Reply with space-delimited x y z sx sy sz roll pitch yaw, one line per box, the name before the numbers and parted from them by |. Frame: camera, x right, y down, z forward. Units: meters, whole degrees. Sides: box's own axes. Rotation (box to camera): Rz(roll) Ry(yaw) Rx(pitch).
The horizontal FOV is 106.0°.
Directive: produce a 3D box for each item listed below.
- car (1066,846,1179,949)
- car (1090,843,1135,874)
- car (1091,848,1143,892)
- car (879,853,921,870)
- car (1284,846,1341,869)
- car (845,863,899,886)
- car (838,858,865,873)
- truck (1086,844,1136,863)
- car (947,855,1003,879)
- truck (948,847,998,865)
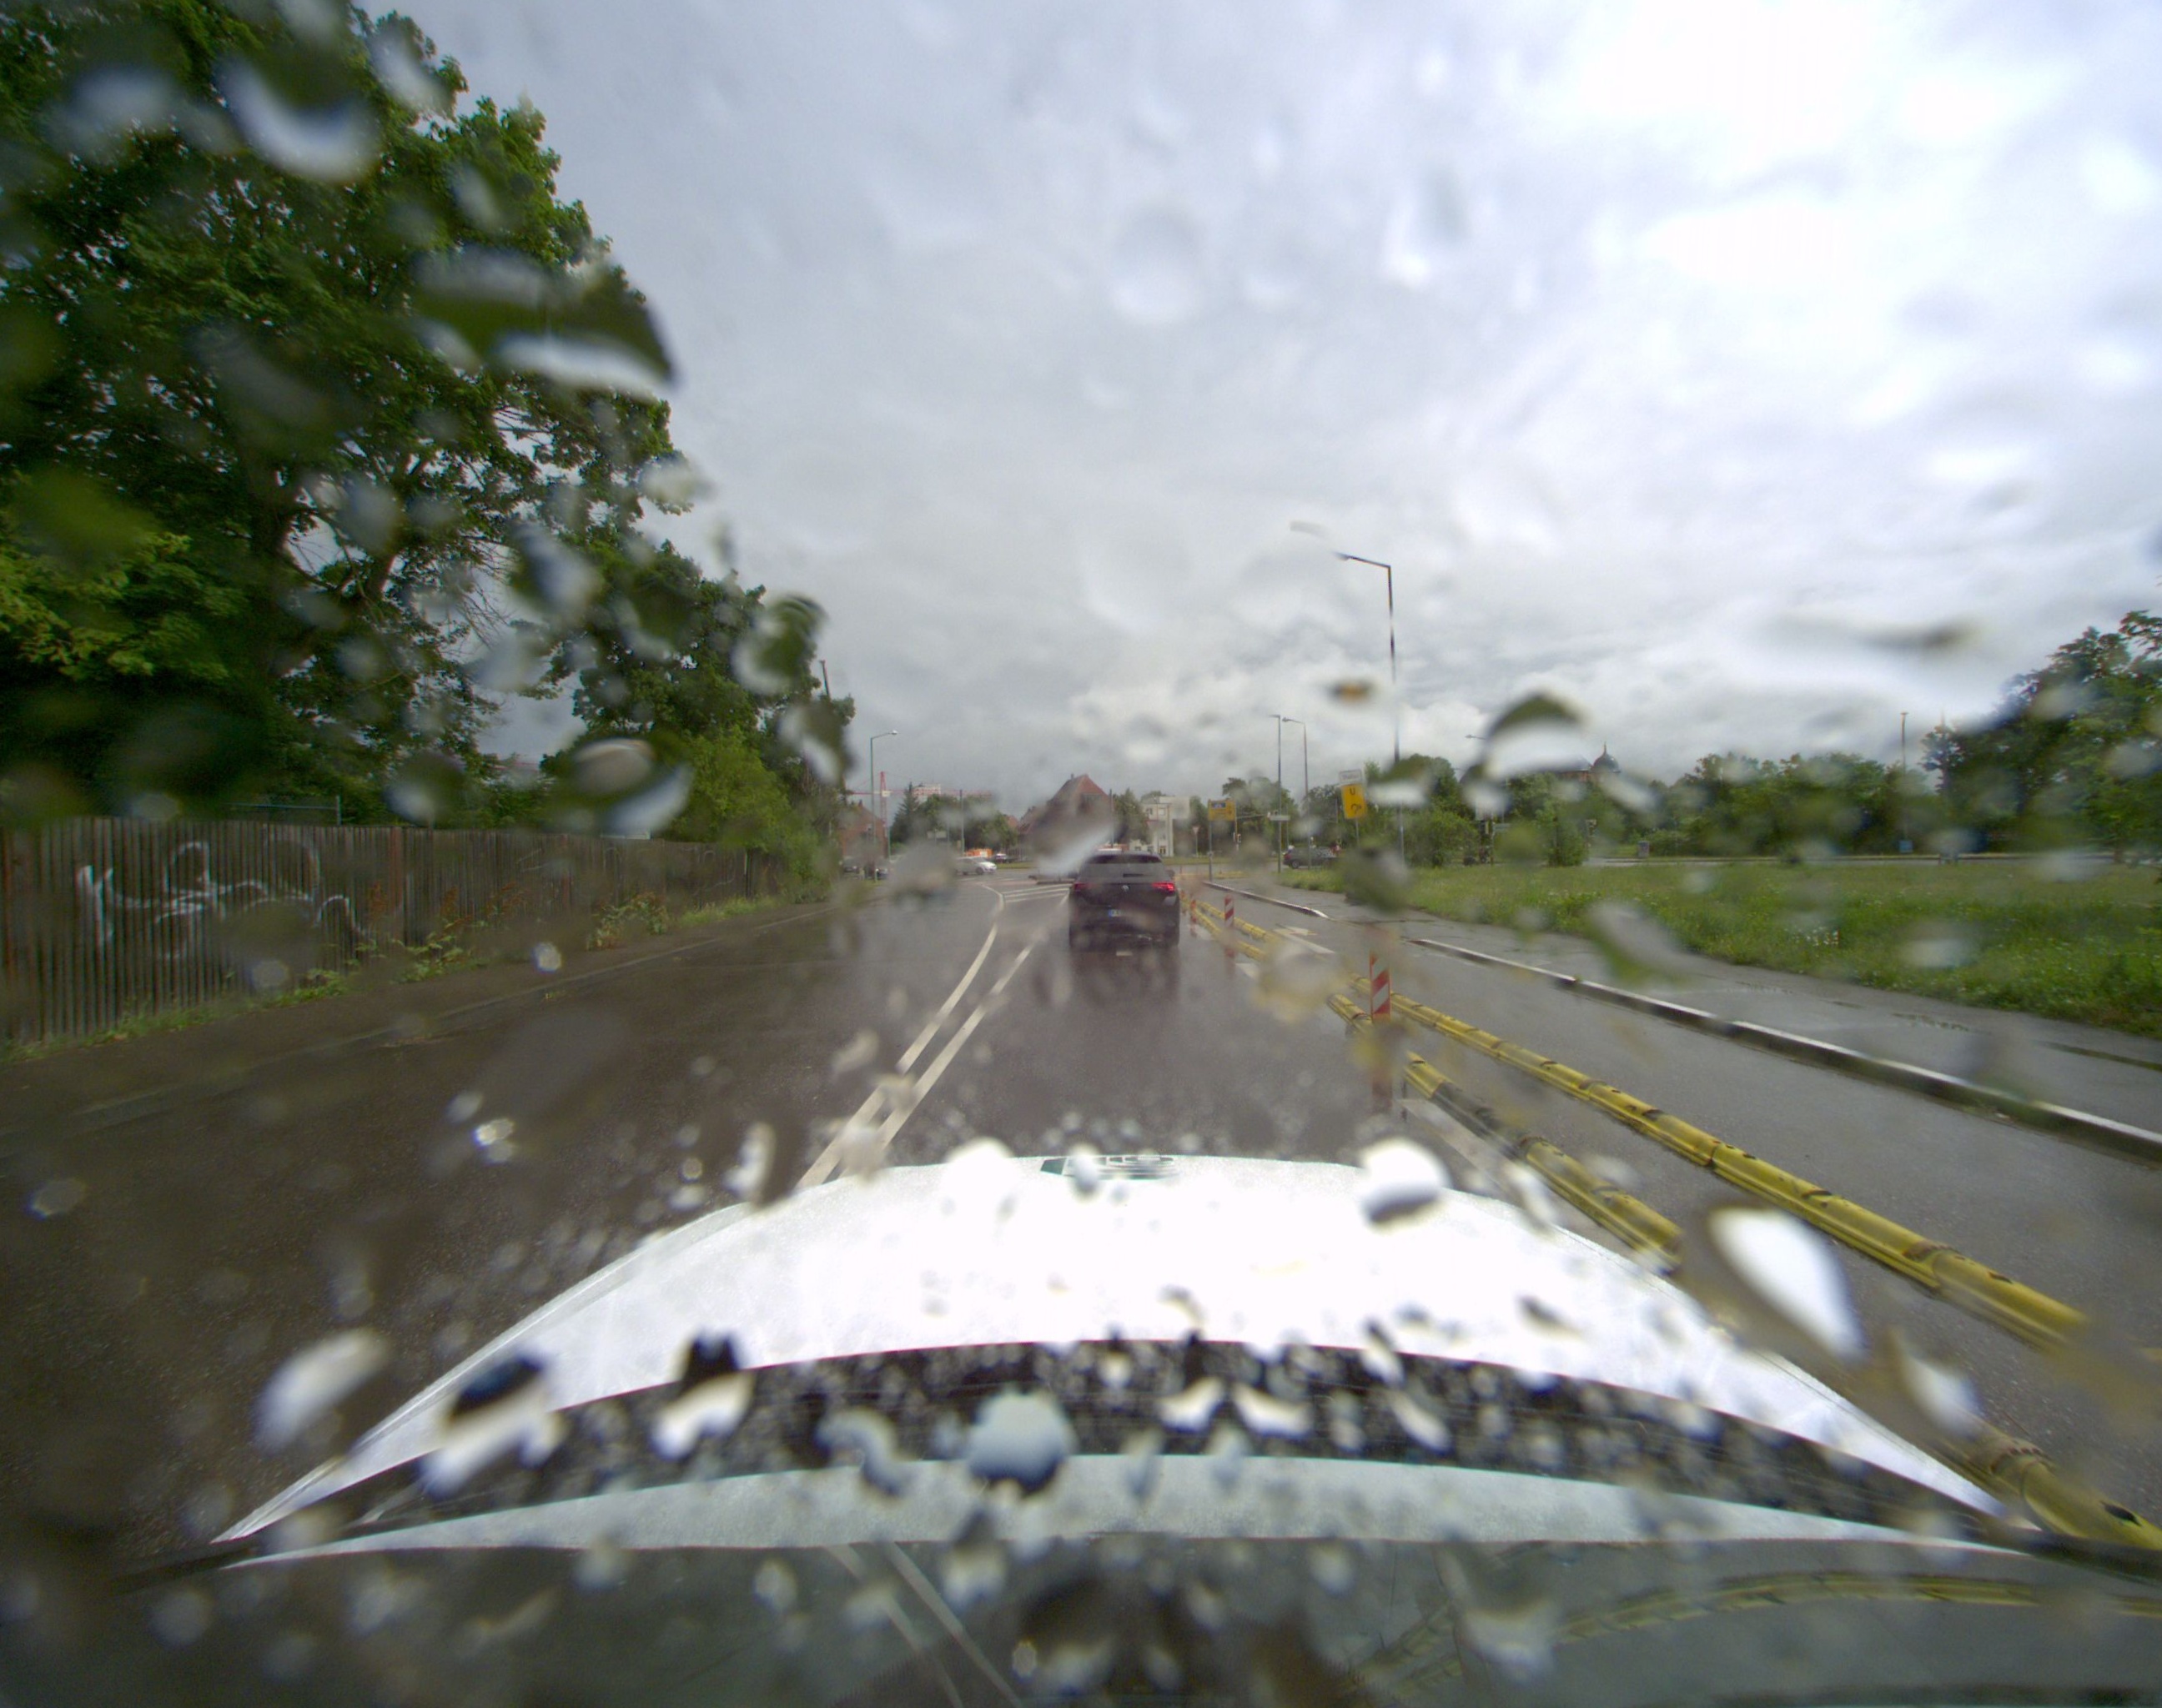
car | 0.614 0.680 14.362 1.704 1.574 3.680 0 0 -2
car | 2.024 0.272 51.000 1.851 1.809 4.421 -1 0 14
car | 1.298 0.565 30.641 1.730 1.514 3.603 -1 0 -1
car | -22.150 0.909 99.936 1.870 1.876 5.165 -2 0 32
car | 17.579 0.272 61.974 3.920 1.644 1.674 -1 0 7
car | -16.836 1.676 65.471 4.368 1.552 1.798 -4 0 37
car | -23.415 1.170 83.046 1.885 1.482 4.140 -1 -1 -27
truck | 4.344 -0.100 116.954 7.039 2.650 2.331 -1 0 2
car | -8.597 1.040 66.133 3.952 1.830 2.011 -2 0 22
truck | -15.725 0.322 118.585 6.749 2.442 2.409 -2 0 -33
